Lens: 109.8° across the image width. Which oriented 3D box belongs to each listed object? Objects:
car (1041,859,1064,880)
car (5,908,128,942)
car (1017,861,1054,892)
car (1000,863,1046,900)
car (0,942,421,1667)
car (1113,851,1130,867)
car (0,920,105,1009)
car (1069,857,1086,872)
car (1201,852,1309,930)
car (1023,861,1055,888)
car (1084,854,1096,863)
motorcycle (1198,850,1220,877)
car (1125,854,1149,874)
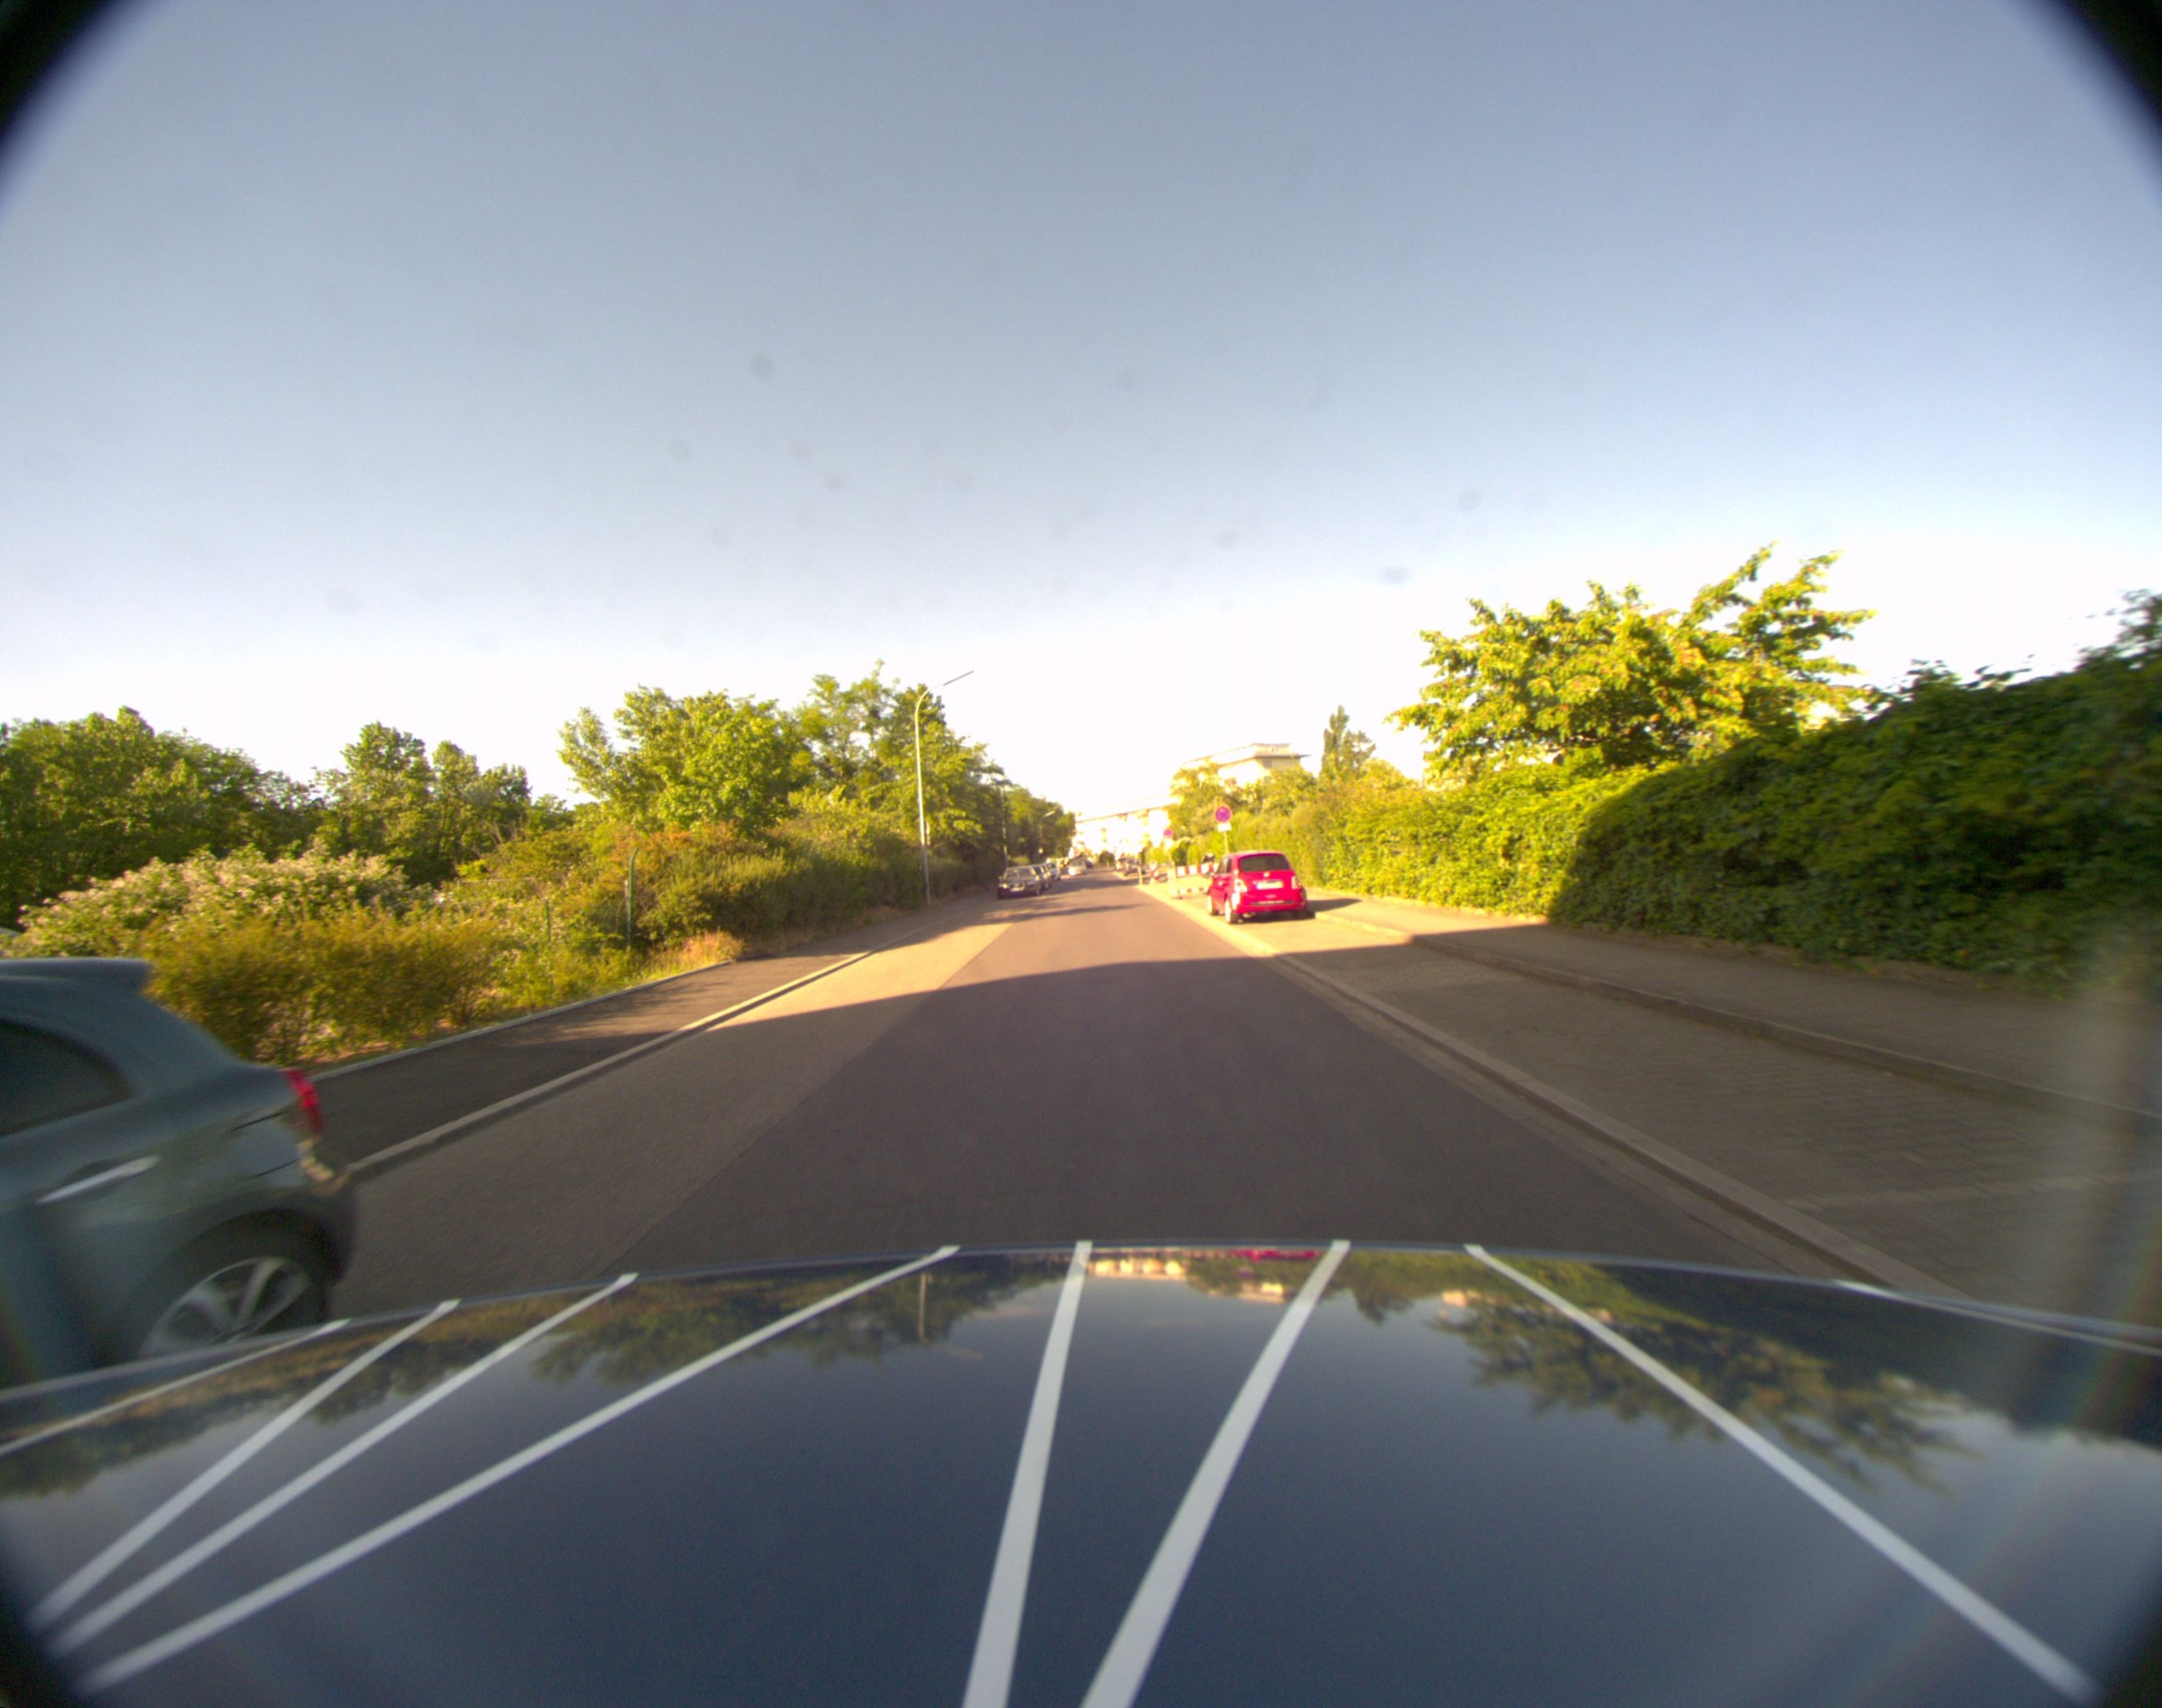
[{"bbox_3d":[-2.369,1.260,63.749,1.559,1.529,3.555,-6,0,1],"label":"car"},{"bbox_3d":[-51.196,3.567,38.382,3.886,1.413,1.840,-2,0,3],"label":"car"},{"bbox_3d":[-2.530,1.224,42.943,1.659,1.436,4.656,-6,0,0],"label":"car"},{"bbox_3d":[-2.740,1.272,36.664,1.758,1.405,4.656,-6,0,0],"label":"car"},{"bbox_3d":[-3.351,1.165,0.826,1.626,1.517,3.902,-6,0,2],"label":"car"},{"bbox_3d":[4.301,0.524,81.361,1.647,1.590,4.312,-5,0,3],"label":"car"},{"bbox_3d":[-20.952,2.112,13.992,3.886,1.430,1.689,-3,0,3],"label":"car"},{"bbox_3d":[-0.314,1.022,76.547,1.596,1.417,4.171,-1,0,2],"label":"car"},{"bbox_3d":[3.774,0.736,17.017,1.563,1.486,3.570,-3,0,1],"label":"car"},{"bbox_3d":[-2.648,1.260,48.611,1.659,1.477,3.838,-6,0,0],"label":"car"},{"bbox_3d":[1.675,0.791,139.983,1.732,1.455,4.681,-3,-1,-4],"label":"car"},{"bbox_3d":[6.416,0.475,38.122,0.568,1.261,2.090,-5,1,-3],"label":"motorcycle"},{"bbox_3d":[4.684,0.797,63.607,1.647,1.547,4.417,-3,0,1],"label":"car"}]
